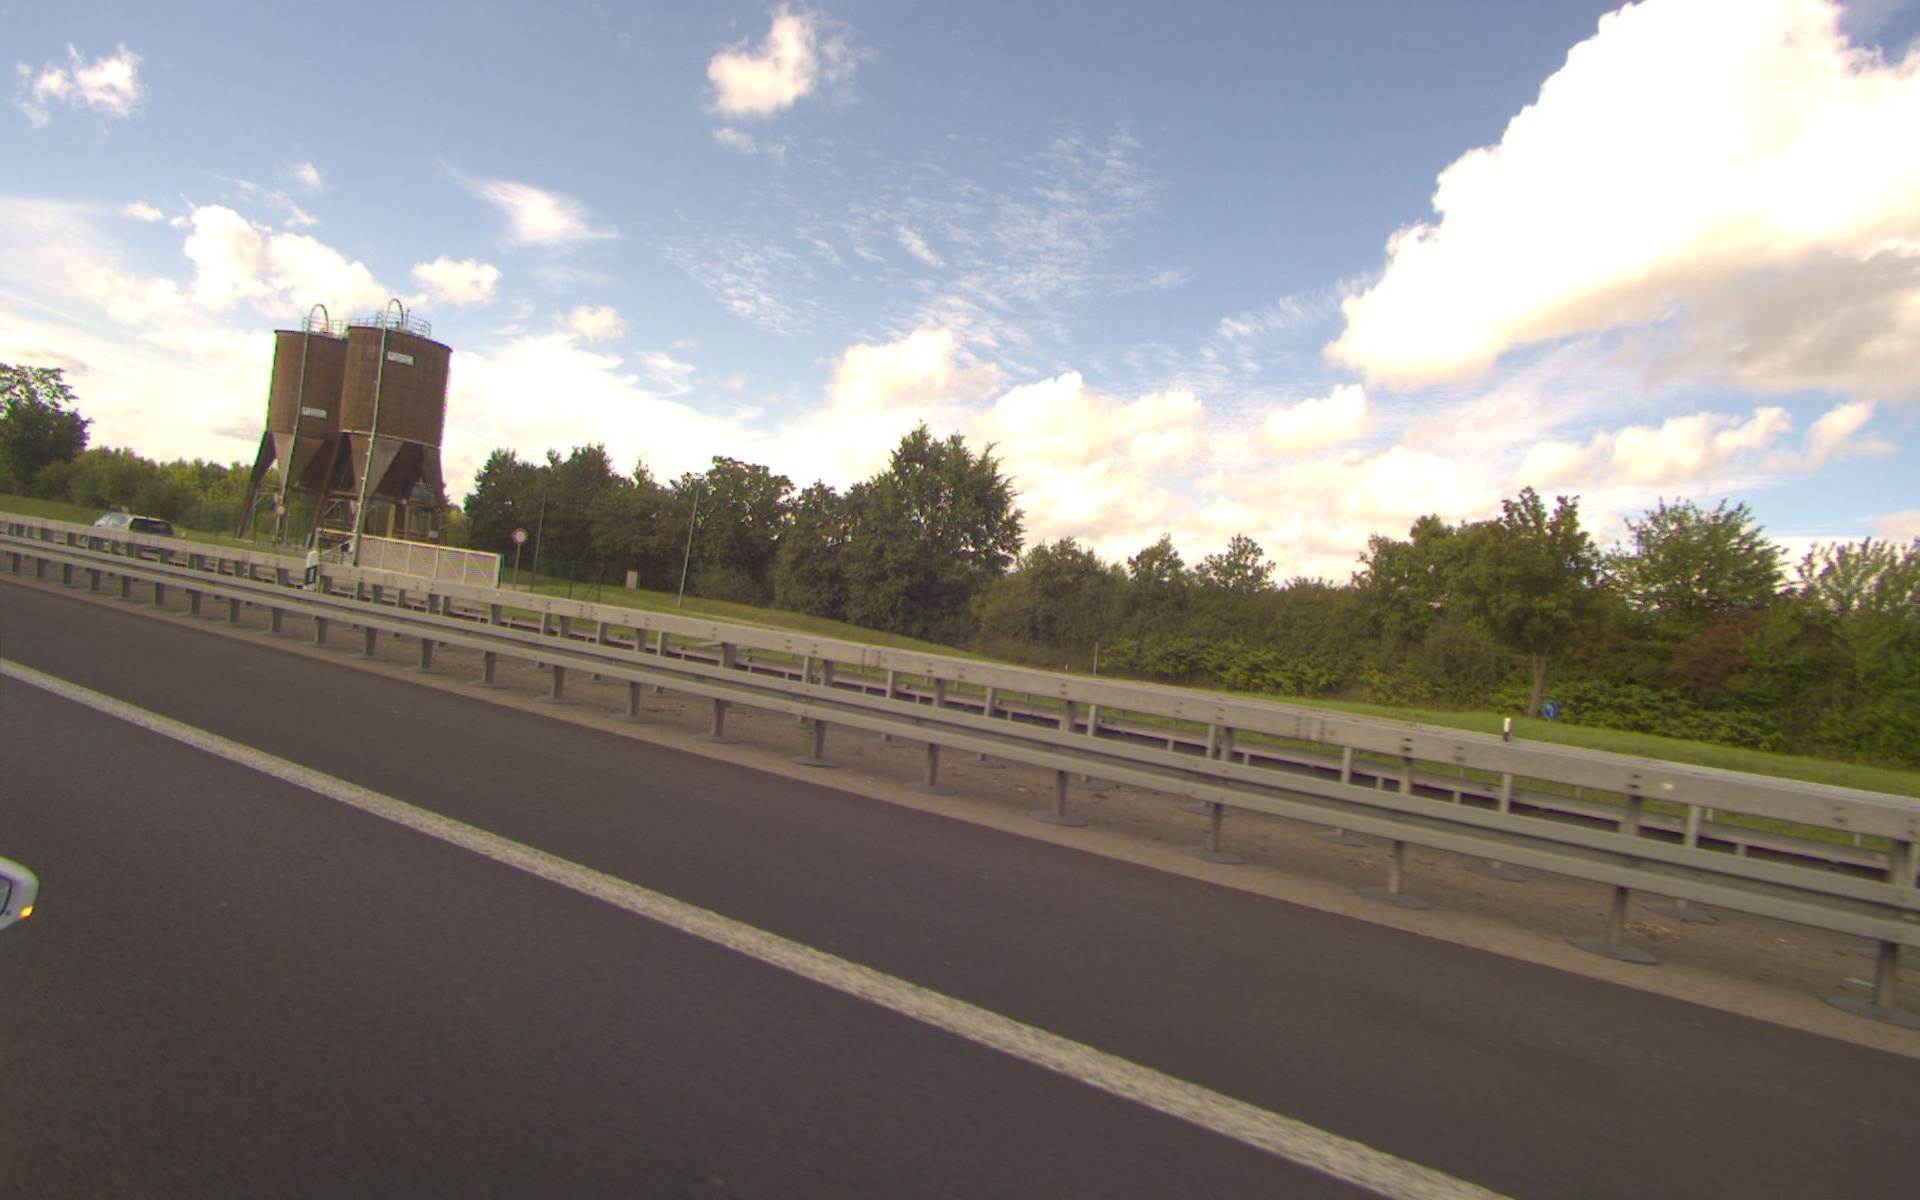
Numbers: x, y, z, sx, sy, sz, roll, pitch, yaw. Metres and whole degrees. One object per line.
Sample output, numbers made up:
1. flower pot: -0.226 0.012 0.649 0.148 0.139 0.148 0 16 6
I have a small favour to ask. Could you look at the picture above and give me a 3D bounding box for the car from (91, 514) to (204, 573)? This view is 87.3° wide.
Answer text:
1. car: -30.397 -2.118 37.614 3.933 1.739 1.995 7 1 31
